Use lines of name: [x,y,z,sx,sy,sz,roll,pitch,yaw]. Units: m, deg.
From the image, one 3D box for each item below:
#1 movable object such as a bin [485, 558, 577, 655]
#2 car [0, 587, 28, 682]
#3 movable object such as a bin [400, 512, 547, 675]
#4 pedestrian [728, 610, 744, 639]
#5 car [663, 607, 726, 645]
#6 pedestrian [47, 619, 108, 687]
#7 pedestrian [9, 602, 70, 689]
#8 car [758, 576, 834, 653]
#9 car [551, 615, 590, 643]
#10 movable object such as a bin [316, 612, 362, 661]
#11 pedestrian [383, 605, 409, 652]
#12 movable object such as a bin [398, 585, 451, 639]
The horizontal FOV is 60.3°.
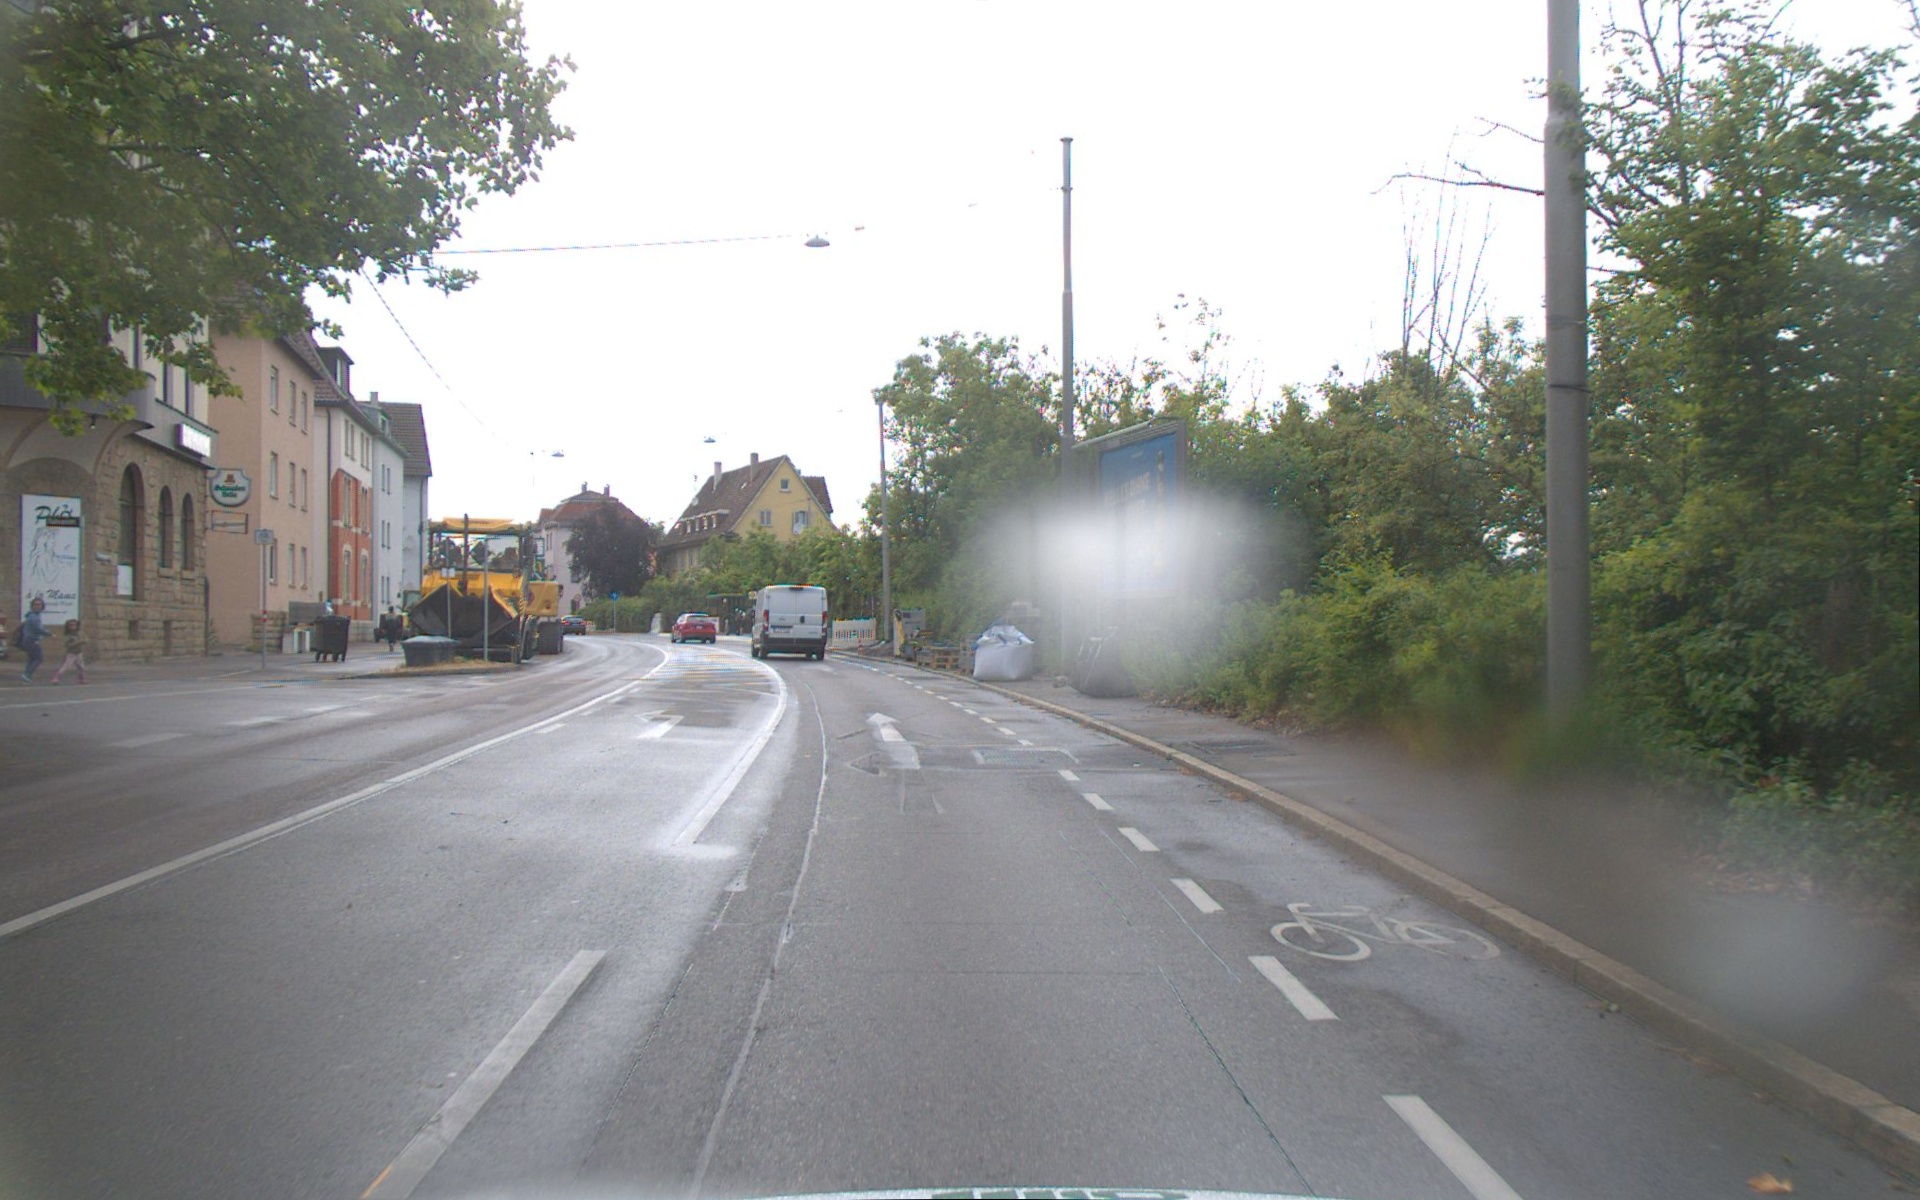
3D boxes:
movable object such as a bin: [-15.074,0.177,58.330,2.820,3.228,4.115,1,1,-11]
car: [-18.991,0.469,28.865,4.472,1.601,1.922,4,0,-25]
movable object such as a bin: [-12.640,-0.217,43.450,2.722,3.923,5.978,1,1,-8]
pedestrian: [-13.492,1.475,99.624,0.889,1.761,0.652,1,1,-9]
car: [-13.184,1.254,82.060,2.205,1.685,4.685,1,1,-20]
pedestrian: [-15.459,0.921,28.981,0.728,1.143,0.730,1,1,-9]
pedestrian: [-15.543,0.761,27.952,0.794,1.426,0.777,1,1,-23]
car: [-5.272,0.411,52.682,2.195,2.251,4.705,1,1,-8]
car: [-28.640,2.113,121.526,2.205,1.836,4.685,1,1,-20]
movable object such as a bin: [-16.599,0.979,44.194,0.883,1.243,1.189,1,1,-35]
pedestrian: [-19.829,0.994,58.146,0.751,1.616,1.087,1,1,-15]
movable object such as a bin: [-28.312,0.600,87.550,1.957,2.730,4.617,1,1,-10]
